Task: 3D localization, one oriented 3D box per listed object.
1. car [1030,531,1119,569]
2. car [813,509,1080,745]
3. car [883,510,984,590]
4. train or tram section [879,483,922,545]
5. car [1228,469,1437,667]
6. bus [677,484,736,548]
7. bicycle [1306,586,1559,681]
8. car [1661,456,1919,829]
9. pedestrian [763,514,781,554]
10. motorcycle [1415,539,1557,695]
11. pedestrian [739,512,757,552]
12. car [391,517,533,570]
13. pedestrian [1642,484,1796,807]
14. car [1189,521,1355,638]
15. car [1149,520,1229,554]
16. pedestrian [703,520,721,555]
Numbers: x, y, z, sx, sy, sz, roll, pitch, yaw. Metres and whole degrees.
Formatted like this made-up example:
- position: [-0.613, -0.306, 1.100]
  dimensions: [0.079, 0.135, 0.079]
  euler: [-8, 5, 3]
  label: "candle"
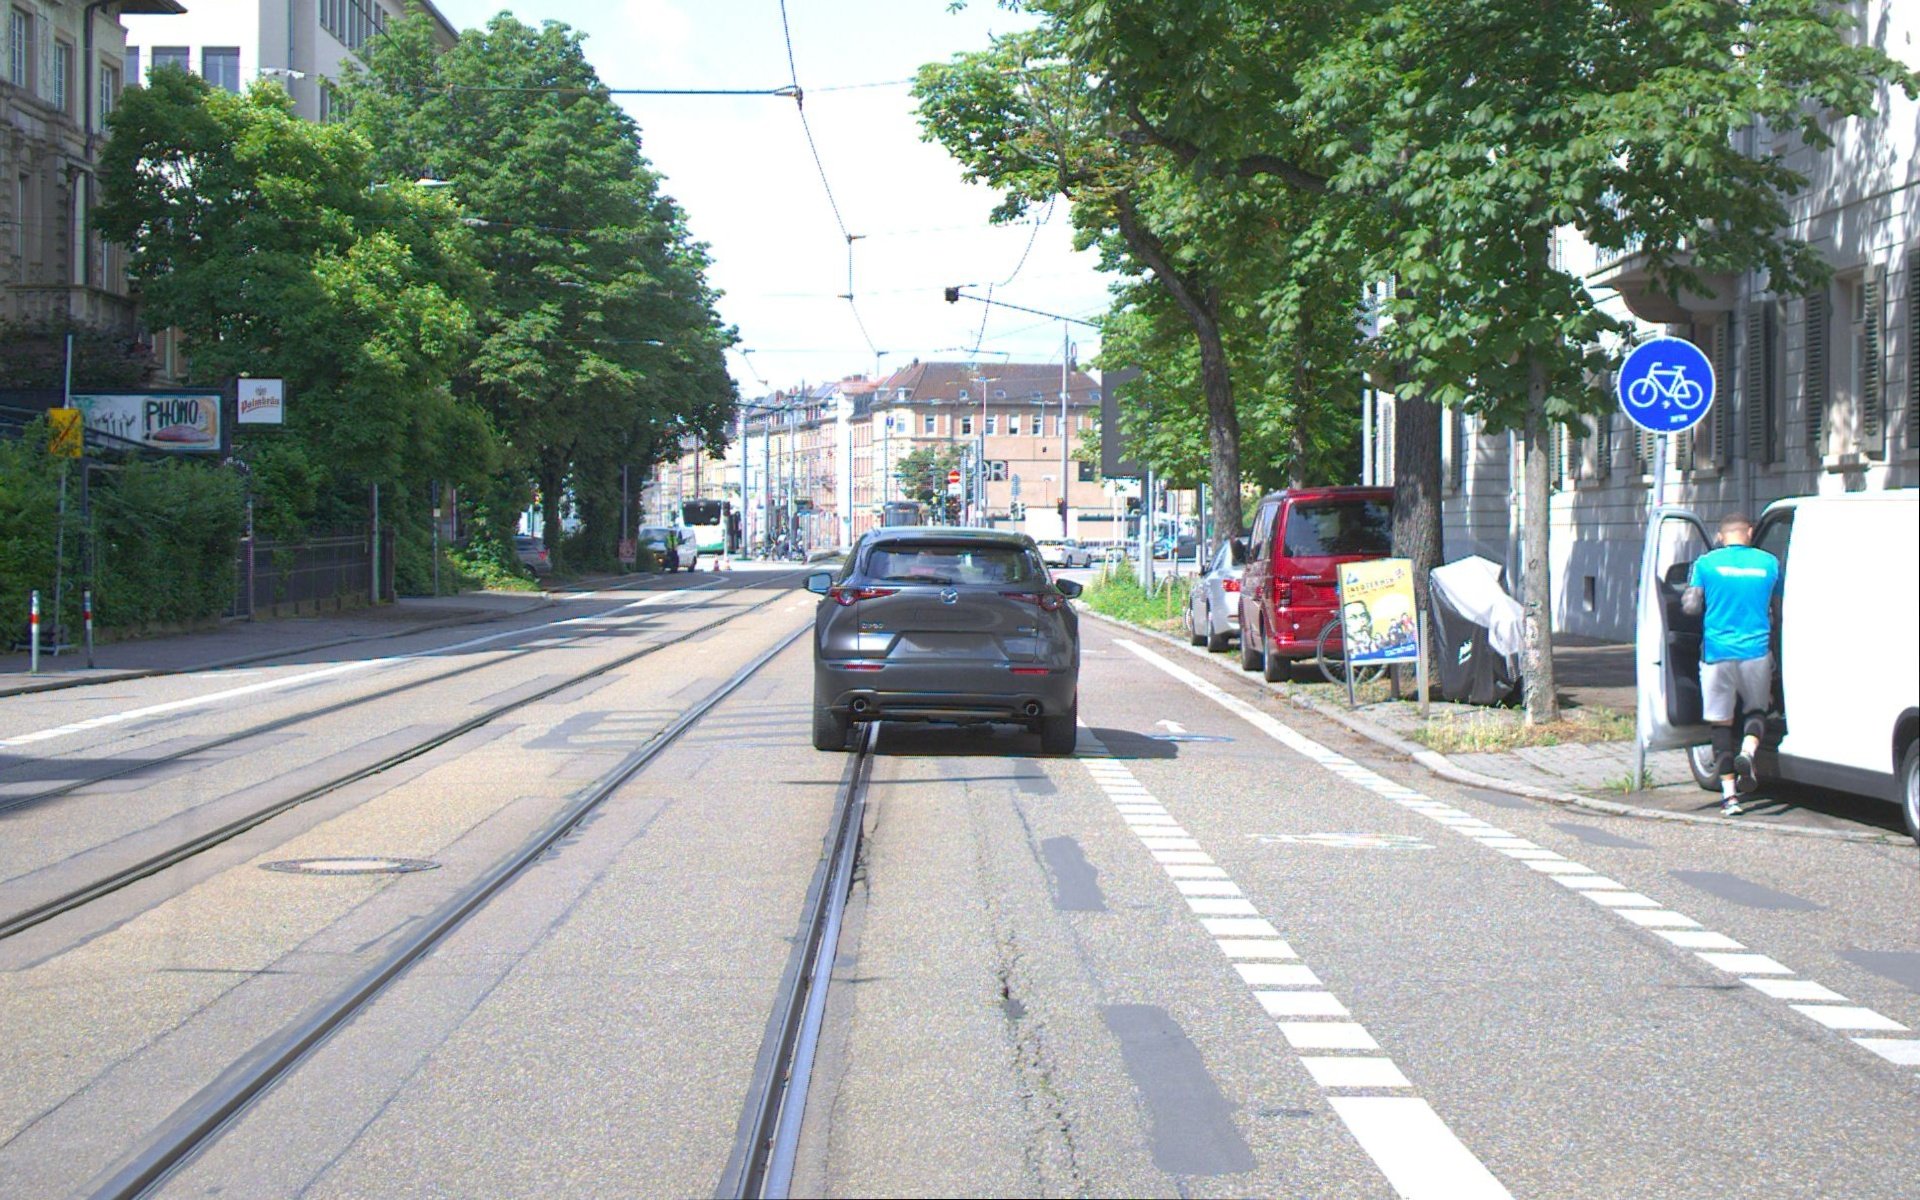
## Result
- position: [5.372, -2.364, 161.547]
  dimensions: [3.805, 1.612, 1.638]
  euler: [2, 1, -18]
  label: "car"
- position: [-0.122, 0.137, 24.082]
  dimensions: [1.720, 1.521, 3.590]
  euler: [0, 1, -1]
  label: "car"
- position: [-0.581, -1.056, 71.780]
  dimensions: [1.993, 1.523, 4.000]
  euler: [3, 1, -1]
  label: "car"
- position: [-3.697, -5.369, 215.883]
  dimensions: [2.571, 3.759, 13.027]
  euler: [0, 1, 0]
  label: "train or tram section"
- position: [3.869, -0.366, 36.298]
  dimensions: [1.720, 1.962, 4.207]
  euler: [0, 1, 0]
  label: "car"
- position: [-14.489, -4.791, 195.838]
  dimensions: [2.688, 3.409, 11.020]
  euler: [2, 1, -7]
  label: "bus"
- position: [4.452, 0.311, 32.484]
  dimensions: [2.275, 0.858, 0.672]
  euler: [0, 1, -2]
  label: "bicycle"
- position: [5.668, 0.177, 19.540]
  dimensions: [1.786, 1.932, 4.992]
  euler: [0, 2, -7]
  label: "car"
- position: [-9.539, -3.342, 174.260]
  dimensions: [0.884, 2.007, 0.618]
  euler: [0, 1, -4]
  label: "pedestrian"
- position: [4.494, 0.117, 29.538]
  dimensions: [0.794, 1.267, 2.423]
  euler: [0, 1, -1]
  label: "motorcycle"
- position: [-10.724, -3.448, 174.177]
  dimensions: [0.884, 2.007, 0.618]
  euler: [0, 1, -4]
  label: "pedestrian"
- position: [-13.793, -1.580, 95.388]
  dimensions: [3.746, 1.283, 1.611]
  euler: [2, 1, -4]
  label: "car"
- position: [4.449, 0.246, 20.119]
  dimensions: [0.815, 1.829, 0.961]
  euler: [1, 2, 14]
  label: "pedestrian"
- position: [3.941, -0.296, 43.921]
  dimensions: [1.720, 1.419, 3.590]
  euler: [0, 1, -1]
  label: "car"
- position: [11.936, -3.268, 179.181]
  dimensions: [3.806, 1.612, 1.638]
  euler: [2, 1, -32]
  label: "car"
- position: [-10.821, -2.733, 149.893]
  dimensions: [0.751, 1.505, 0.824]
  euler: [0, 1, -5]
  label: "pedestrian"
